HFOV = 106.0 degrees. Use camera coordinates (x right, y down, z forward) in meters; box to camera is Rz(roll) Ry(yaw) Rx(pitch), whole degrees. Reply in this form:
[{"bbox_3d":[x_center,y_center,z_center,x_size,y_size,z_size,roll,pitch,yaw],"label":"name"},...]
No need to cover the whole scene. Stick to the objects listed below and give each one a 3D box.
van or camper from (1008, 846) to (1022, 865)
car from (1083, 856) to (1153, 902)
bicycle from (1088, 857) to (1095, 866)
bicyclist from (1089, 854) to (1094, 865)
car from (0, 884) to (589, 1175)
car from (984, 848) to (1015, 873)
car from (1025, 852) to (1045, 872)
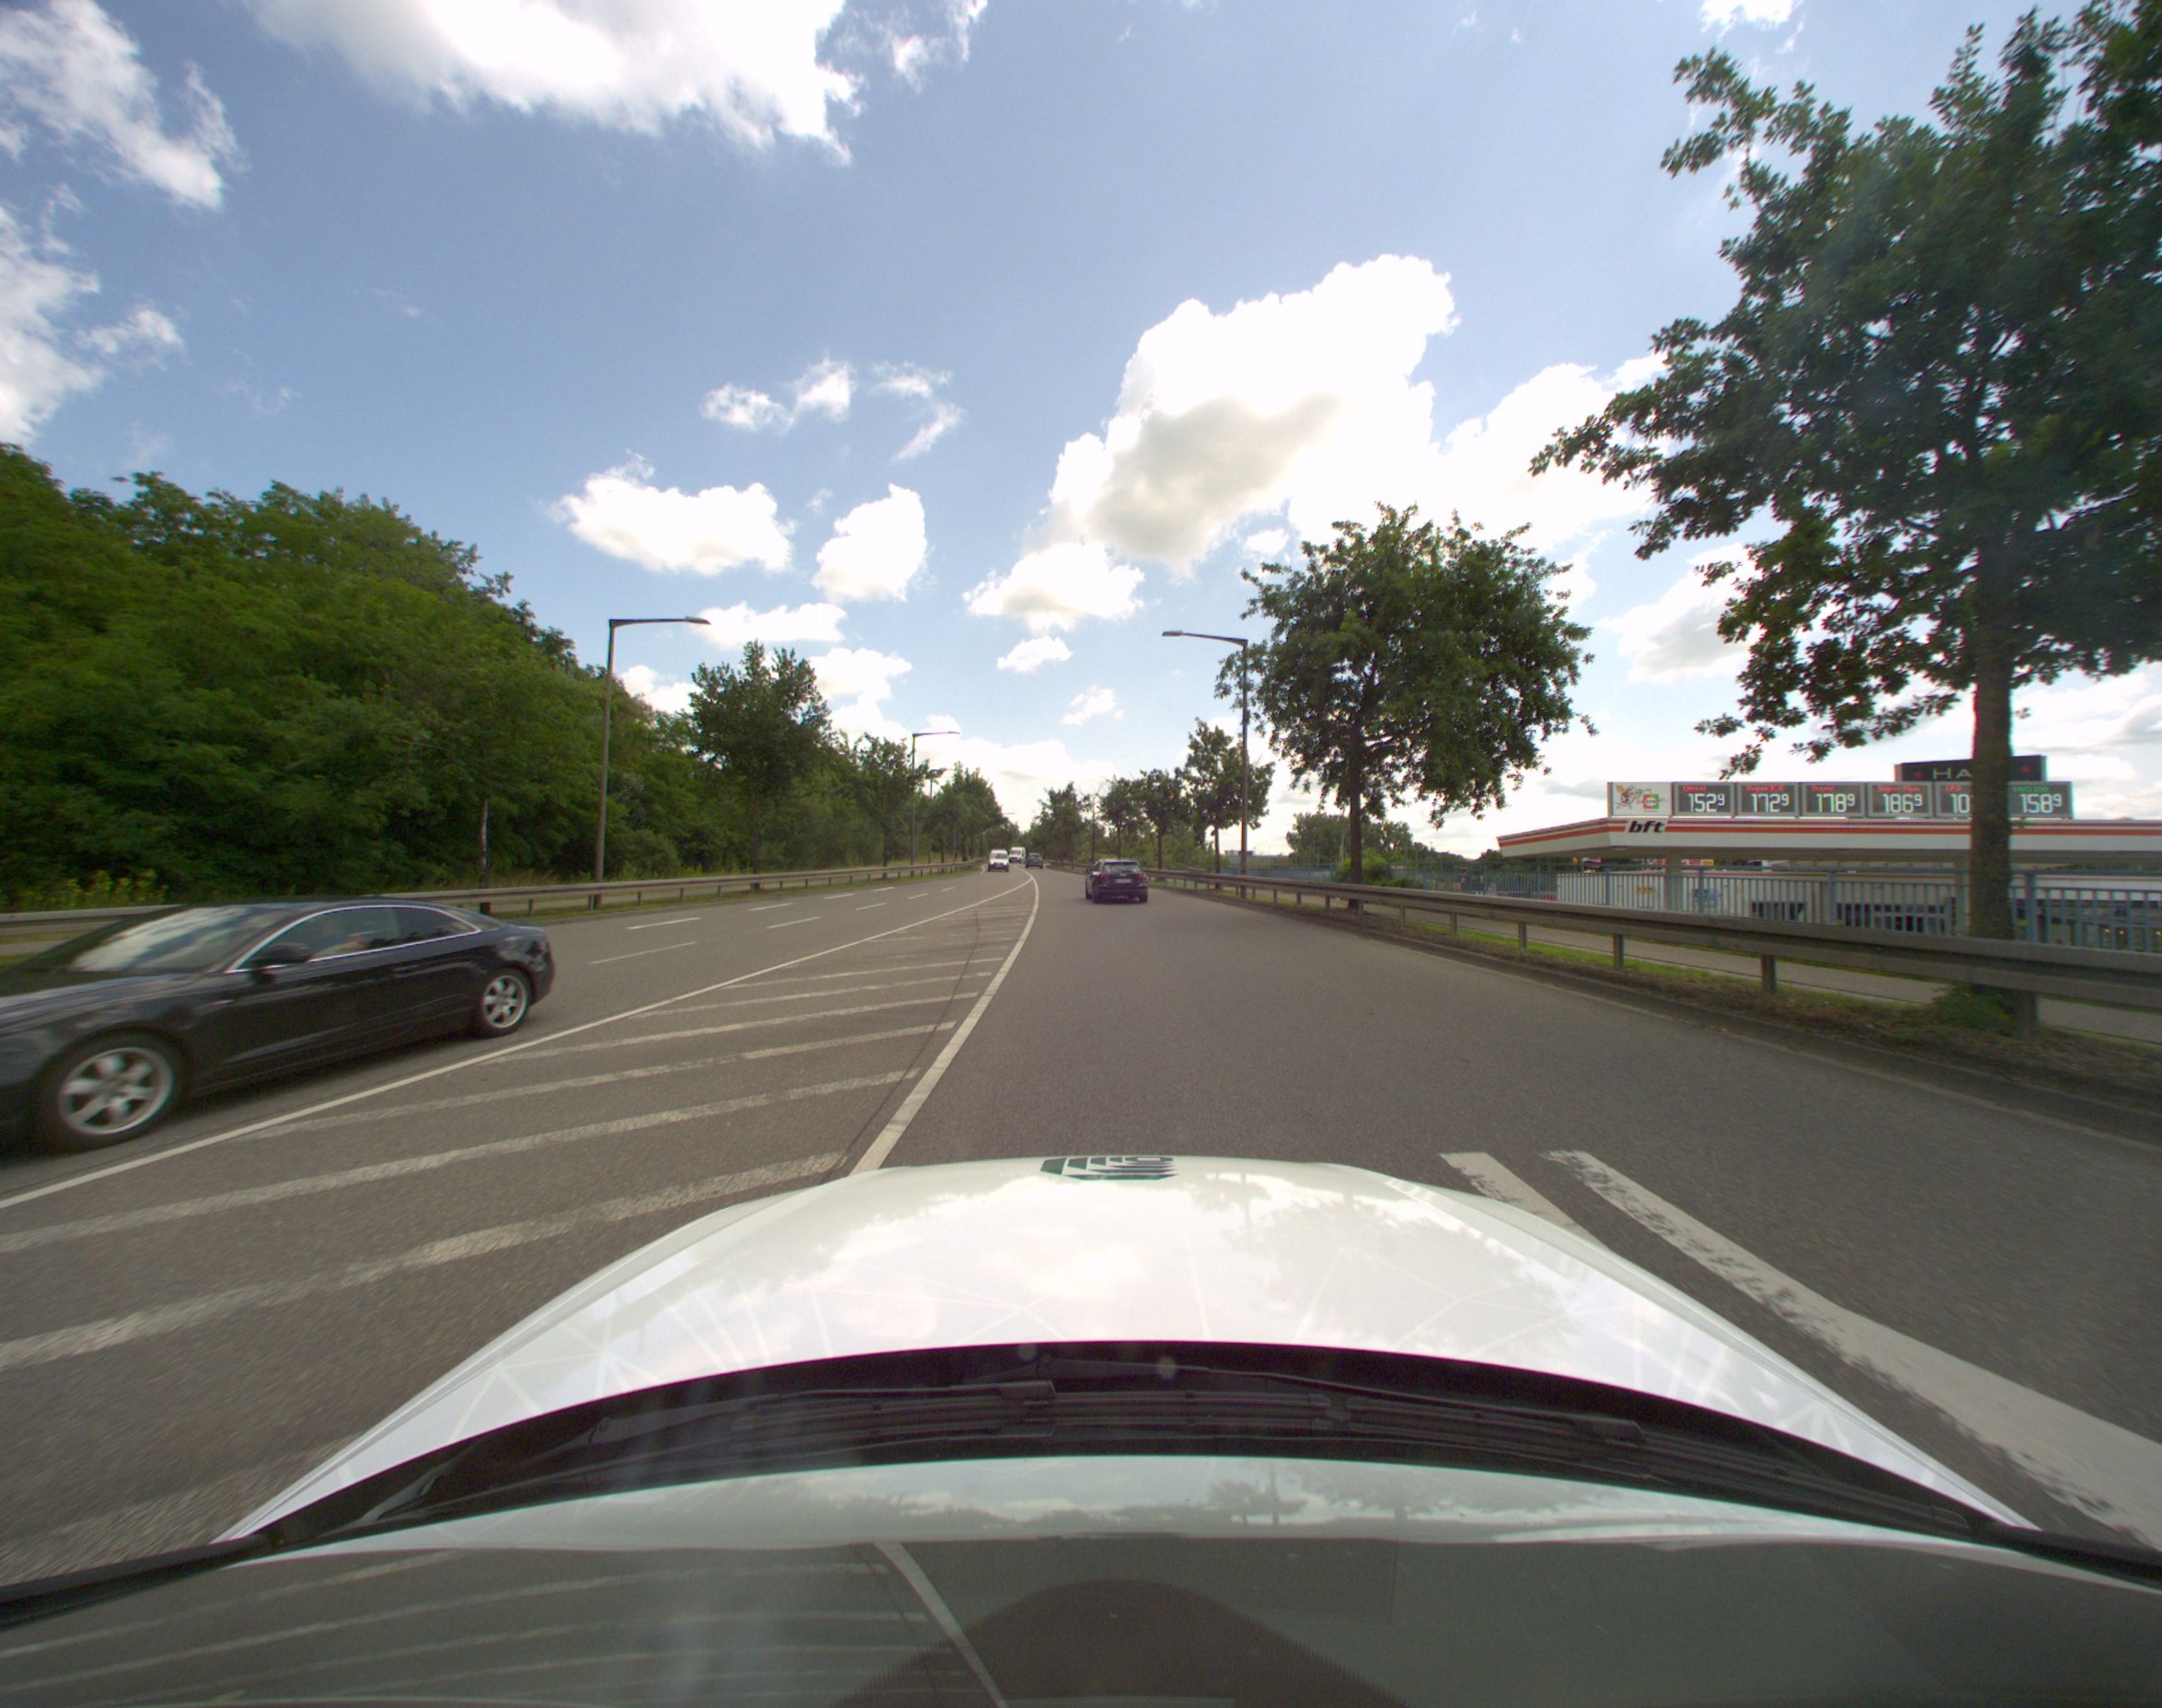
[{"bbox_3d":[-10.374,0.254,127.506,1.991,2.750,5.373,2,-2,-6],"label":"van or camper"},{"bbox_3d":[1.167,0.812,27.697,1.988,1.390,4.572,2,-1,-2],"label":"car"},{"bbox_3d":[1.061,0.756,83.385,0.541,0.866,1.748,2,-2,-2],"label":"bicycle"},{"bbox_3d":[1.034,0.545,83.315,0.473,1.168,0.826,-1,0,-3],"label":"bicyclist"},{"bbox_3d":[-6.241,0.988,6.240,1.895,1.363,4.580,-2,-1,4],"label":"car"},{"bbox_3d":[-6.829,0.500,68.956,1.986,2.013,4.560,1,0,2],"label":"car"},{"bbox_3d":[-5.049,0.949,89.841,1.987,2.038,4.710,1,-3,0],"label":"car"}]
